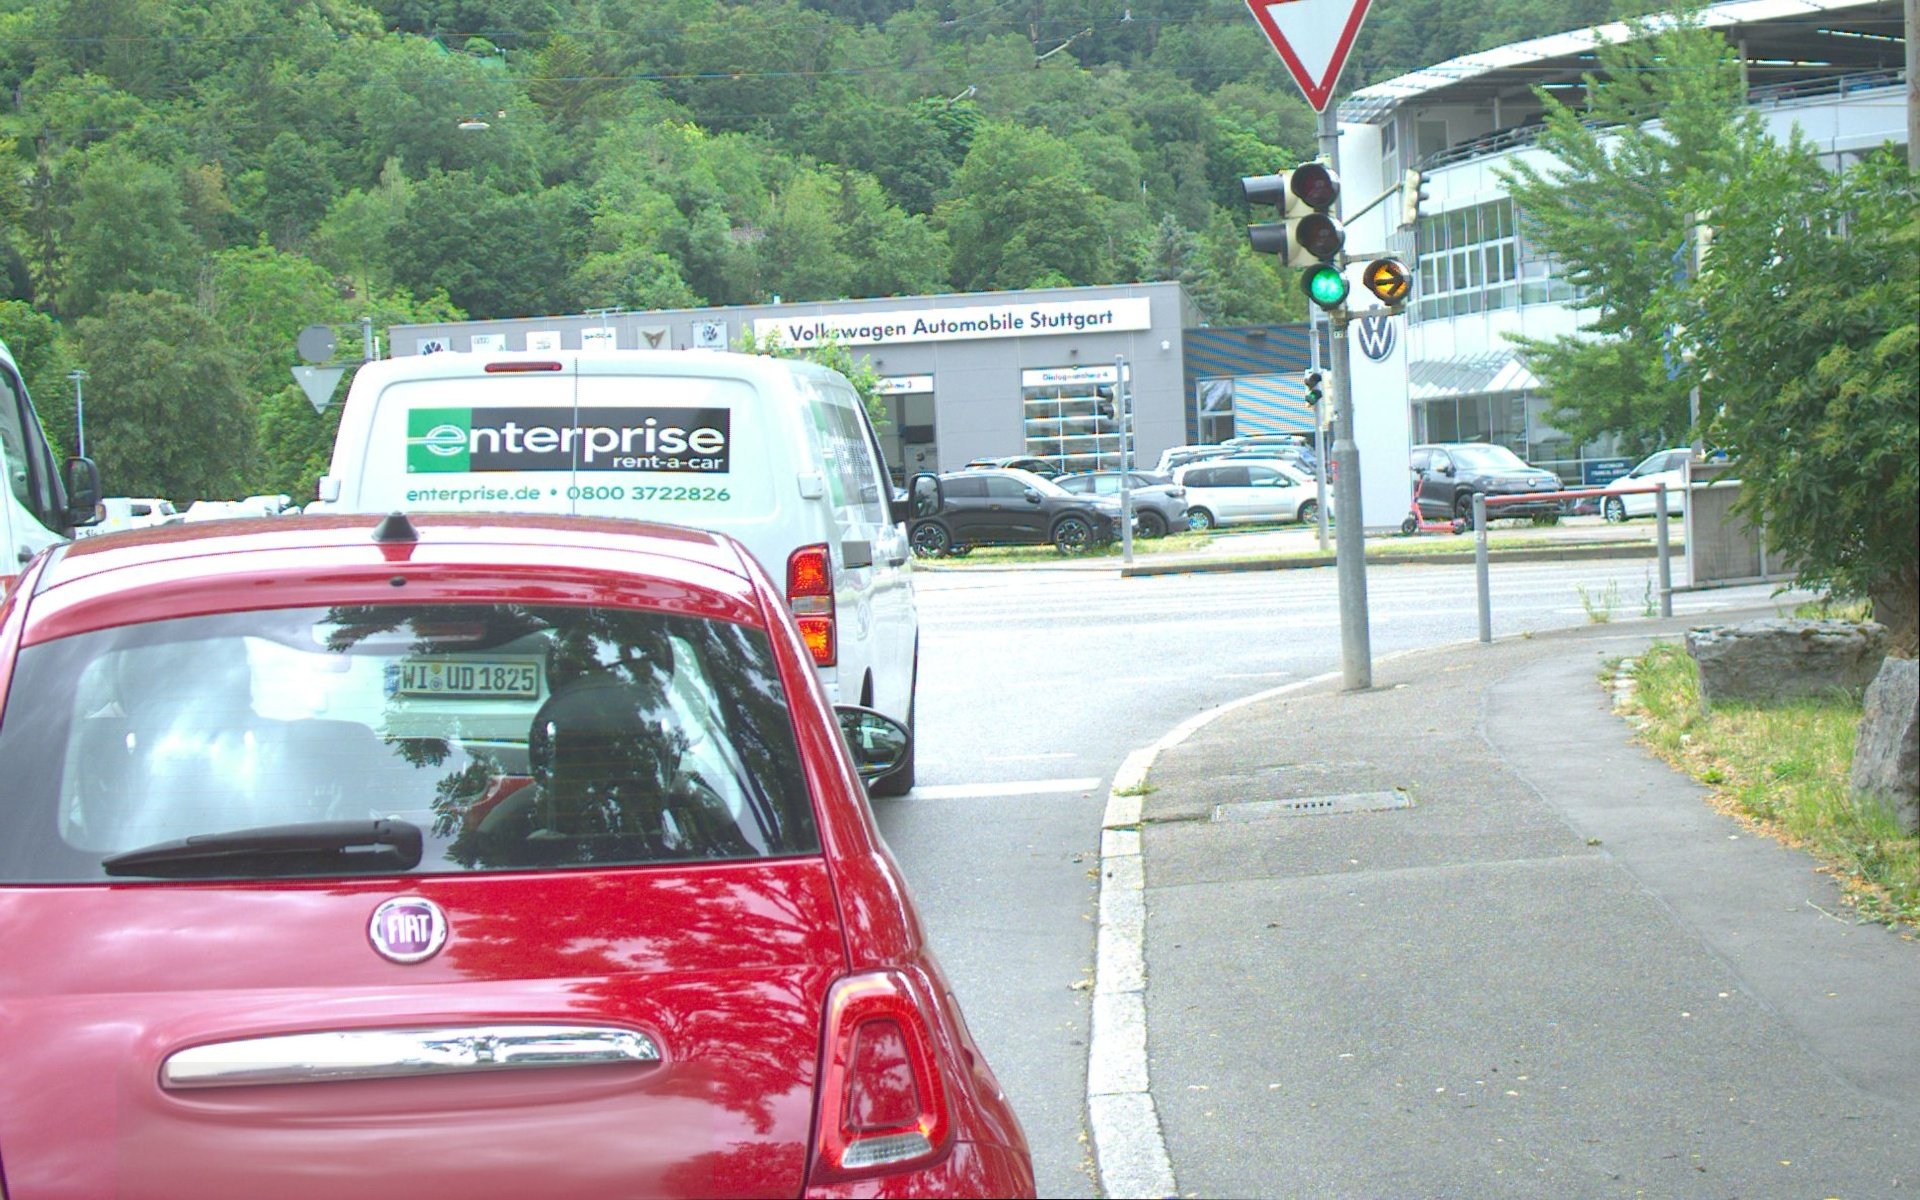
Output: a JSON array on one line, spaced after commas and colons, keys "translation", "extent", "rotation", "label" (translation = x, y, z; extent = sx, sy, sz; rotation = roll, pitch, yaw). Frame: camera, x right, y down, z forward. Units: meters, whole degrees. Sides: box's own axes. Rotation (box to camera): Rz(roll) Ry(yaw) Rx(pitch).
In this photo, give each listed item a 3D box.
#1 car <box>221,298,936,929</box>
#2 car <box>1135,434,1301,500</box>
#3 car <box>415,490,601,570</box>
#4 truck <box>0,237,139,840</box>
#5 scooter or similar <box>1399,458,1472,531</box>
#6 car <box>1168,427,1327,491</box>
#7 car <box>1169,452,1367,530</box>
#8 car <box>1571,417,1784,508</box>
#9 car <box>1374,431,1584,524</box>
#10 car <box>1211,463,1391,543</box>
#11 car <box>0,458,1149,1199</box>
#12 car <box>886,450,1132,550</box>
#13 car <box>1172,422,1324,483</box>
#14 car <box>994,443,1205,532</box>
[{"translation": [-1.273, -0.089, 13.625], "extent": [1.999, 2.033, 4.832], "rotation": [1, 3, 4], "label": "car"}, {"translation": [7.178, -3.708, 95.862], "extent": [4.496, 1.723, 2.000], "rotation": [1, 0, 1], "label": "car"}, {"translation": [-11.721, -1.797, 89.358], "extent": [4.496, 1.990, 2.000], "rotation": [1, 0, 2], "label": "car"}, {"translation": [-4.996, -0.196, 13.270], "extent": [2.313, 2.413, 5.655], "rotation": [-3, 2, -1], "label": "truck"}, {"translation": [8.543, -1.901, 61.790], "extent": [1.200, 1.283, 0.575], "rotation": [1, 0, -3], "label": "scooter or similar"}, {"translation": [8.349, -4.097, 100.155], "extent": [4.496, 1.723, 2.000], "rotation": [1, 0, 1], "label": "car"}, {"translation": [7.206, -2.562, 80.825], "extent": [4.496, 1.723, 2.000], "rotation": [1, 0, 1], "label": "car"}, {"translation": [13.825, -2.627, 66.425], "extent": [1.993, 1.634, 4.001], "rotation": [1, 1, -25], "label": "car"}, {"translation": [9.714, -2.276, 64.617], "extent": [1.993, 1.634, 4.001], "rotation": [-2, 2, -25], "label": "car"}, {"translation": [8.837, -2.516, 89.454], "extent": [4.496, 1.990, 2.000], "rotation": [1, 0, 2], "label": "car"}, {"translation": [-0.900, 0.539, 5.881], "extent": [1.697, 1.520, 4.001], "rotation": [1, 2, -8], "label": "car"}, {"translation": [0.891, -1.795, 61.280], "extent": [3.990, 1.634, 1.999], "rotation": [1, 5, 16], "label": "car"}, {"translation": [8.795, -4.503, 105.310], "extent": [4.496, 1.723, 2.000], "rotation": [1, 0, 1], "label": "car"}, {"translation": [2.810, -2.277, 69.857], "extent": [3.986, 1.700, 2.000], "rotation": [1, 0, -7], "label": "car"}]
